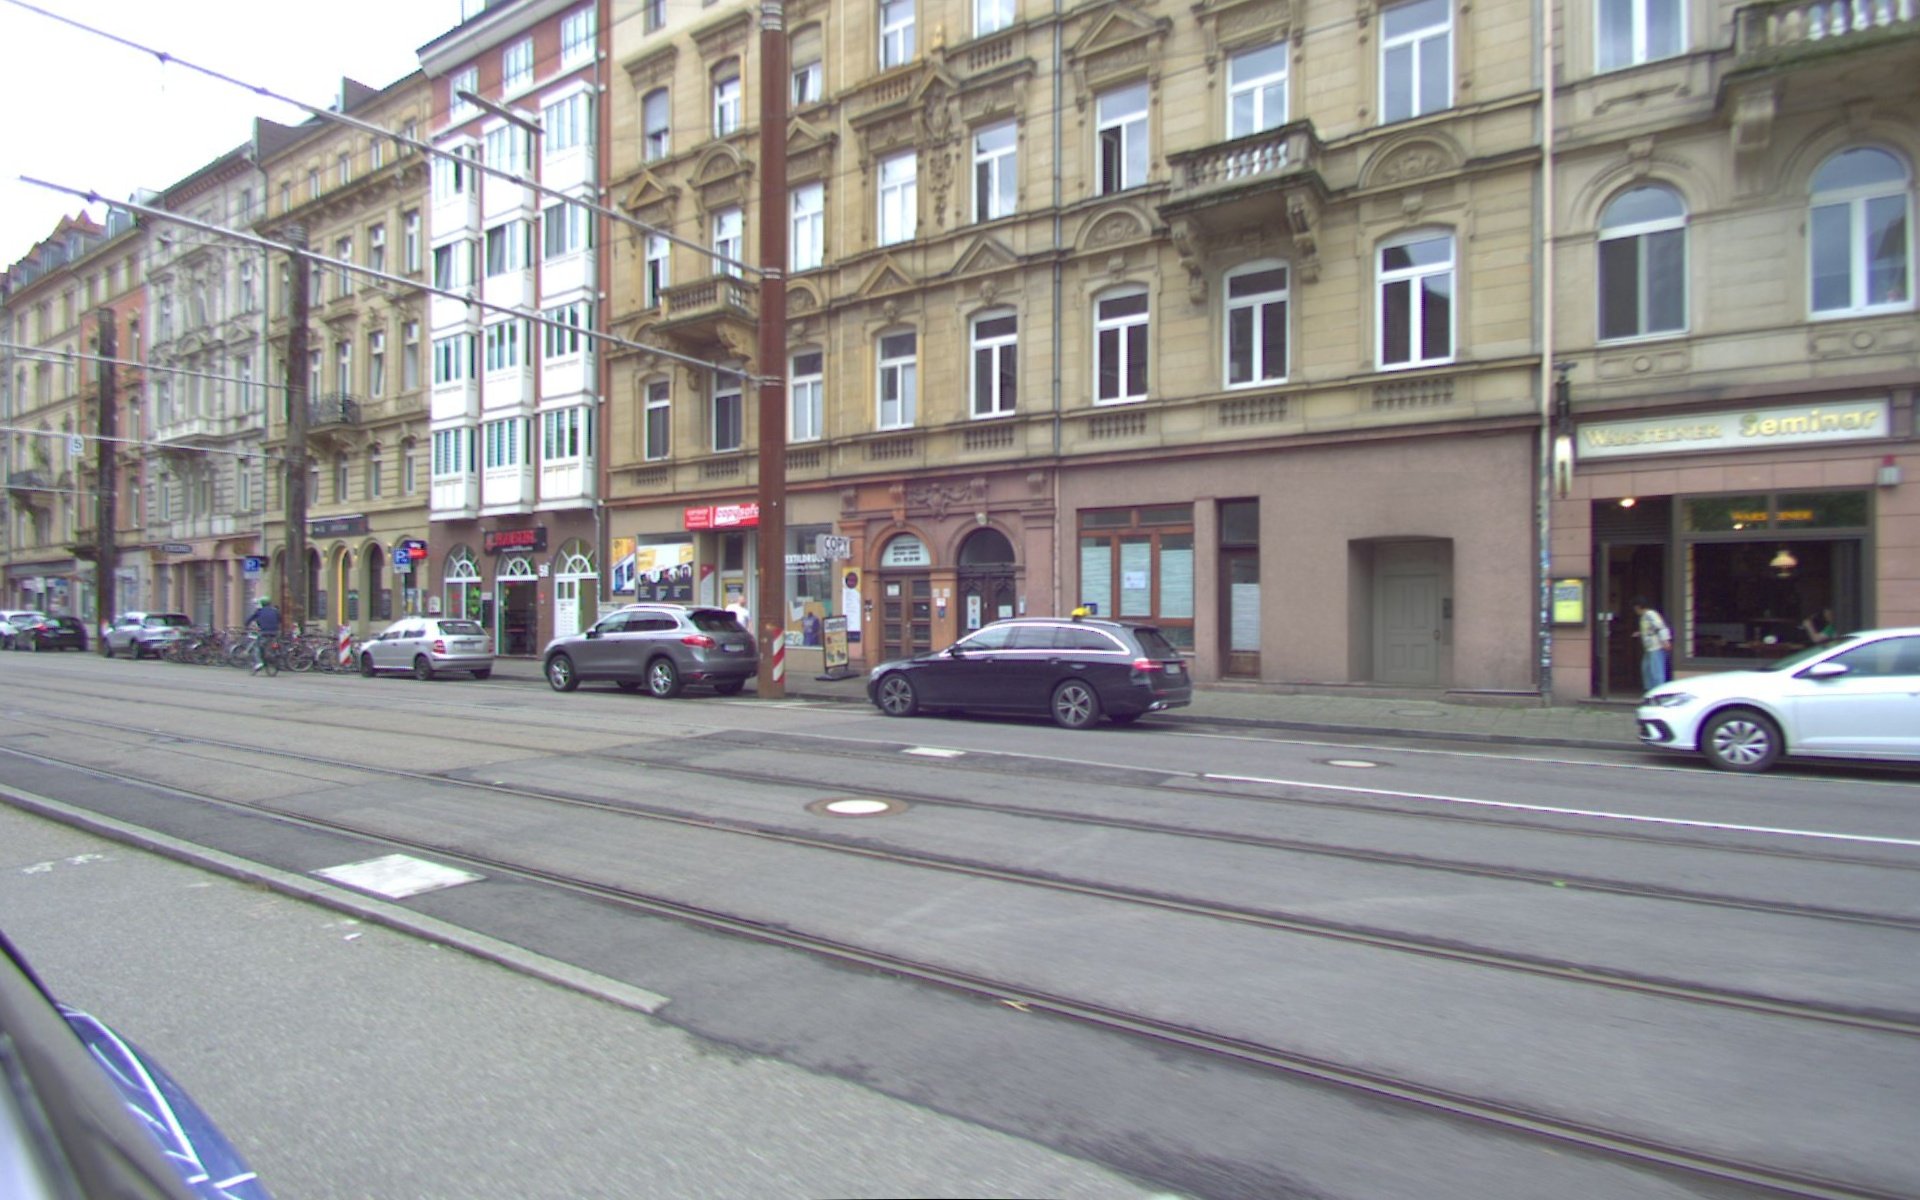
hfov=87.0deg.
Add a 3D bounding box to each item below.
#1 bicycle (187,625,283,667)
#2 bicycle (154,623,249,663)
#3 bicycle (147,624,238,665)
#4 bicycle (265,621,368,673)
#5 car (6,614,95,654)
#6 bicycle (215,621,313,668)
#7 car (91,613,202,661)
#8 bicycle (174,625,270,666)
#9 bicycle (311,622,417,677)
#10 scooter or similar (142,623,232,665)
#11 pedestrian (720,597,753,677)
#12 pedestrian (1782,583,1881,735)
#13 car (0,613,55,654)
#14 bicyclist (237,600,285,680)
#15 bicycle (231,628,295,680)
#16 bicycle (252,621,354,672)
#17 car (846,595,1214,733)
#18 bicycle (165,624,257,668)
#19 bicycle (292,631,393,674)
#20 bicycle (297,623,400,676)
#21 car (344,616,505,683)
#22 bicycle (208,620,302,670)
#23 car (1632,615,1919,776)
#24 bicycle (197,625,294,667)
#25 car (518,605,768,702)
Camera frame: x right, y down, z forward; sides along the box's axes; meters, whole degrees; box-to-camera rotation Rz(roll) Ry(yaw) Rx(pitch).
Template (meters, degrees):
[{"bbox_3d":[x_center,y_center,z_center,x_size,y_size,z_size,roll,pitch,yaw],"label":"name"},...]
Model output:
[{"bbox_3d":[-22.079,1.396,30.864,0.664,1.212,2.263,-1,-3,33],"label":"bicycle"},{"bbox_3d":[-23.868,1.368,31.906,0.703,1.212,2.263,-1,-3,33],"label":"bicycle"},{"bbox_3d":[-24.438,1.388,32.283,0.546,1.212,2.263,-1,0,33],"label":"bicycle"},{"bbox_3d":[-17.510,1.280,27.613,0.664,1.339,2.263,-1,-3,33],"label":"bicycle"},{"bbox_3d":[-36.219,1.332,40.275,3.910,1.500,1.729,-1,-2,34],"label":"car"},{"bbox_3d":[-20.441,1.303,29.785,0.664,1.339,2.263,-1,-3,33],"label":"bicycle"},{"bbox_3d":[-27.898,1.246,34.664,4.212,1.545,1.730,-1,-2,33],"label":"car"},{"bbox_3d":[-22.747,1.410,31.255,0.703,1.212,2.263,-1,-3,33],"label":"bicycle"},{"bbox_3d":[-15.346,1.273,26.126,0.664,1.339,2.263,-1,-3,33],"label":"bicycle"},{"bbox_3d":[-24.935,1.397,32.680,0.546,1.212,2.263,-1,0,33],"label":"scooter or similar"},{"bbox_3d":[-5.165,0.835,23.382,0.643,1.795,0.788,-1,0,-20],"label":"pedestrian"},{"bbox_3d":[11.909,0.785,13.849,0.738,2.029,0.709,0,0,3],"label":"pedestrian"},{"bbox_3d":[-40.169,1.398,42.884,4.034,1.685,1.730,-1,-2,33],"label":"car"},{"bbox_3d":[-17.006,0.942,24.634,1.026,1.897,0.639,0,0,35],"label":"bicyclist"},{"bbox_3d":[-16.963,1.290,24.611,2.040,1.183,0.580,0,-2,35],"label":"bicycle"},{"bbox_3d":[-18.191,1.283,28.081,0.664,1.339,2.263,-1,-3,33],"label":"bicycle"},{"bbox_3d":[0.931,0.847,14.686,5.035,1.702,1.904,0,-3,32],"label":"car"},{"bbox_3d":[-23.323,1.411,31.576,0.539,1.212,2.264,1,1,33],"label":"bicycle"},{"bbox_3d":[-16.410,1.374,26.947,0.618,1.049,2.263,-1,0,33],"label":"bicycle"},{"bbox_3d":[-15.971,1.287,26.486,0.519,1.339,2.263,-1,-3,33],"label":"bicycle"},{"bbox_3d":[-12.955,1.149,24.437,3.908,1.500,1.730,-1,-2,33],"label":"car"},{"bbox_3d":[-20.944,1.313,30.103,0.447,1.304,2.264,-1,1,33],"label":"bicycle"},{"bbox_3d":[9.065,0.902,9.816,4.151,1.433,1.757,0,-3,32],"label":"car"},{"bbox_3d":[-21.485,1.384,30.471,0.664,1.212,2.263,-1,-3,33],"label":"bicycle"},{"bbox_3d":[-6.258,0.986,19.807,5.012,1.702,1.800,-1,-2,31],"label":"car"}]
